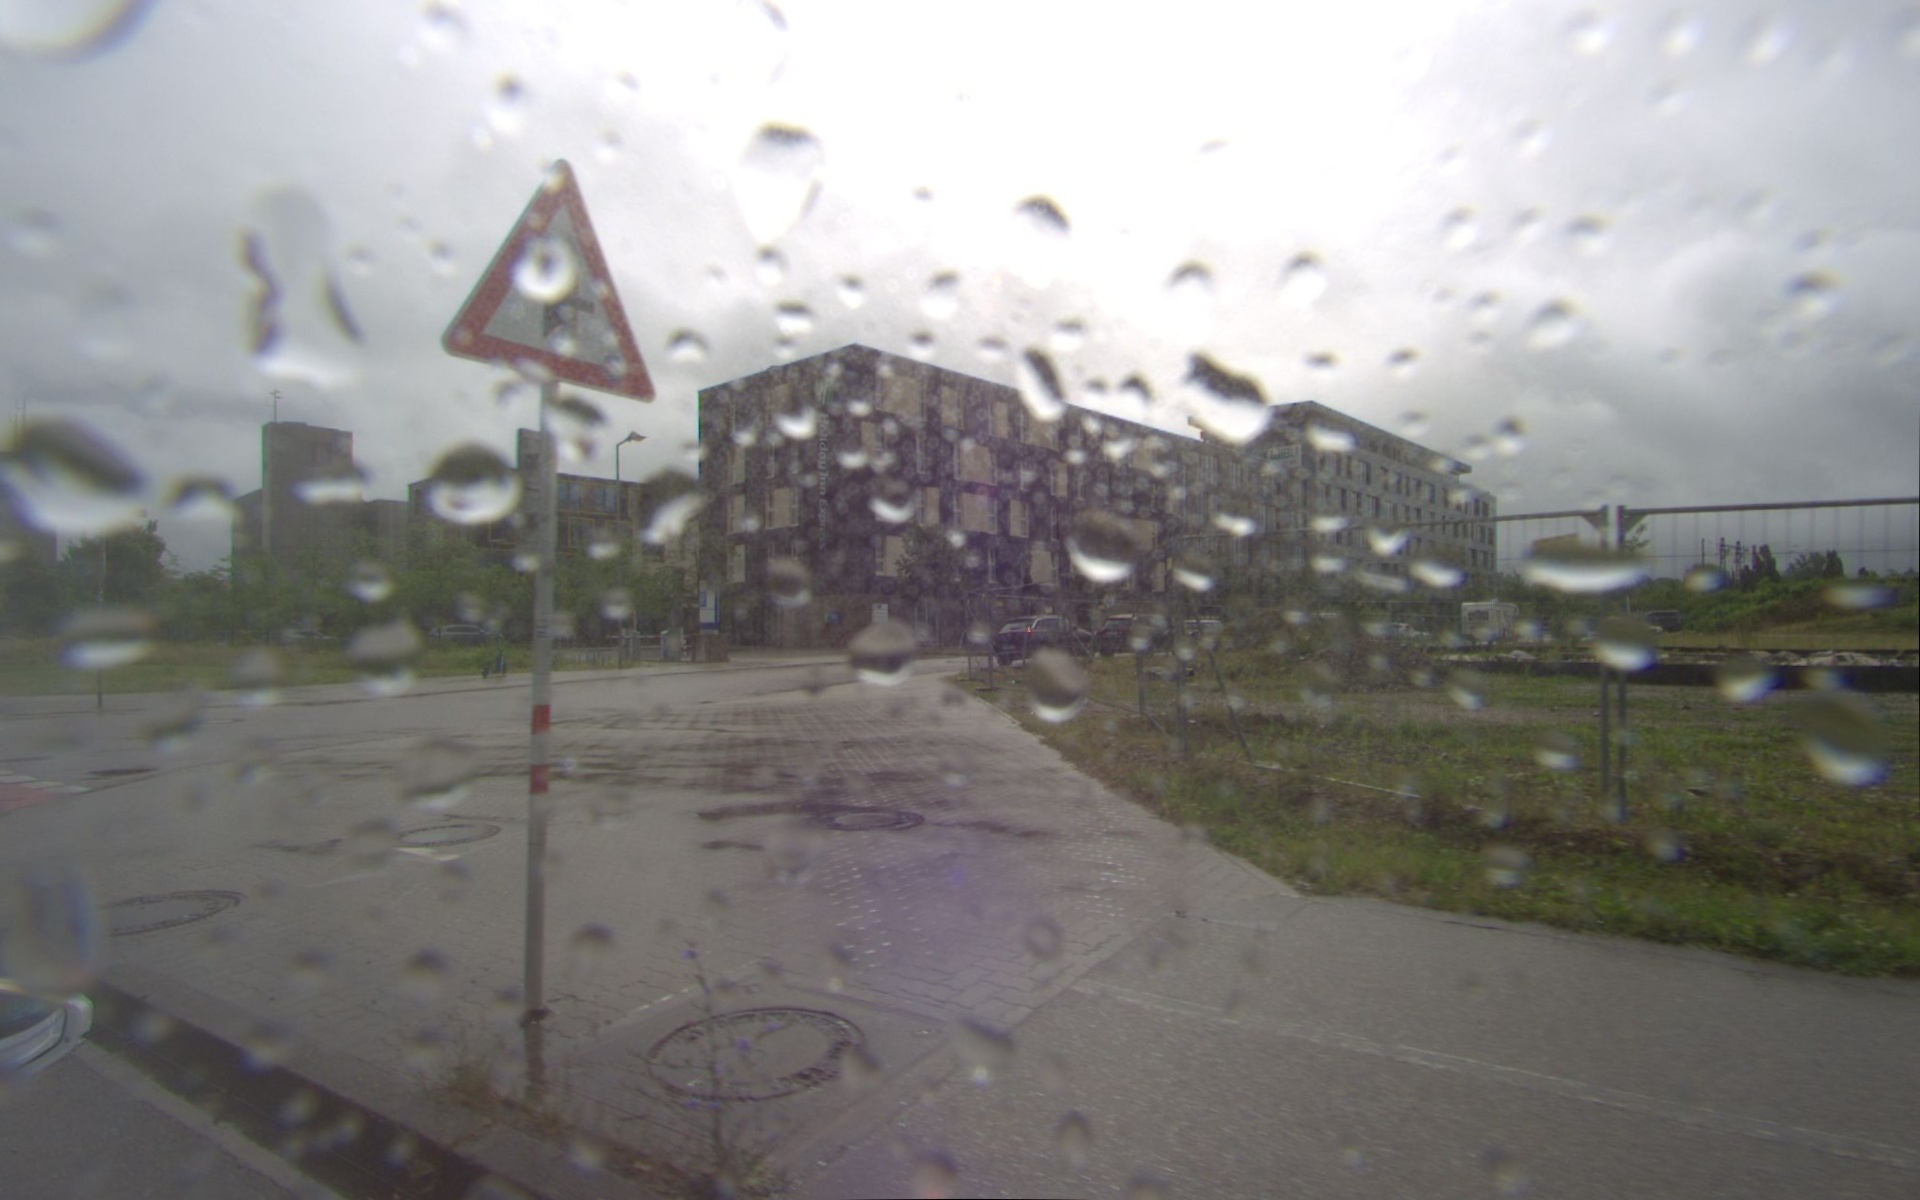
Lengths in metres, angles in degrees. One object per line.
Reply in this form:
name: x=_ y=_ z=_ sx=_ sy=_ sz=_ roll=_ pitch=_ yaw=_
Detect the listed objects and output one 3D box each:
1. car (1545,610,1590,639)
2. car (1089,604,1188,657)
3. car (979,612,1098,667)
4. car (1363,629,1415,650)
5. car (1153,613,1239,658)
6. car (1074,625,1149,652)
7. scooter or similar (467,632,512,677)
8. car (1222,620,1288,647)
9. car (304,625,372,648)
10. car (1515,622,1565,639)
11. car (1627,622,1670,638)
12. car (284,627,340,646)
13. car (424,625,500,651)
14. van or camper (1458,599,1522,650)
car: x=48.731 y=2.026 z=80.259 sx=4.770 sy=2.038 sz=1.981 roll=6 pitch=-5 yaw=-44
car: x=6.665 y=1.175 z=37.175 sx=1.975 sy=1.748 sz=3.975 roll=-1 pitch=-5 yaw=38
car: x=2.632 y=1.294 z=32.913 sx=1.977 sy=1.638 sz=3.972 roll=-5 pitch=-4 yaw=38
car: x=37.127 y=3.407 z=86.611 sx=3.799 sy=1.635 sz=1.773 roll=-1 pitch=-5 yaw=42
car: x=9.866 y=1.501 z=41.736 sx=1.975 sy=1.661 sz=3.975 roll=-1 pitch=-5 yaw=38
car: x=8.414 y=2.152 z=55.795 sx=3.765 sy=1.412 sz=1.755 roll=-1 pitch=-5 yaw=42
scooter or similar: x=-13.351 y=1.525 z=28.443 sx=0.493 sy=1.203 sz=1.283 roll=1 pitch=1 yaw=12
car: x=19.394 y=2.199 z=65.929 sx=3.799 sy=1.635 sz=1.773 roll=-1 pitch=-5 yaw=42
car: x=-51.259 y=2.979 z=82.579 sx=4.514 sy=1.784 sz=1.980 roll=1 pitch=-2 yaw=-45
car: x=62.287 y=3.318 z=107.540 sx=1.784 sy=1.708 sz=4.326 roll=5 pitch=-5 yaw=-45
car: x=78.380 y=3.442 z=113.997 sx=3.948 sy=1.750 sz=1.988 roll=-1 pitch=-2 yaw=36
car: x=-58.131 y=3.264 z=89.898 sx=3.961 sy=1.742 sz=1.752 roll=1 pitch=-2 yaw=-44
car: x=-32.832 y=2.479 z=66.082 sx=4.178 sy=1.578 sz=1.651 roll=0 pitch=-1 yaw=-45
van or camper: x=38.474 y=1.859 z=72.632 sx=2.502 sy=3.240 sz=6.749 roll=-1 pitch=-5 yaw=42
